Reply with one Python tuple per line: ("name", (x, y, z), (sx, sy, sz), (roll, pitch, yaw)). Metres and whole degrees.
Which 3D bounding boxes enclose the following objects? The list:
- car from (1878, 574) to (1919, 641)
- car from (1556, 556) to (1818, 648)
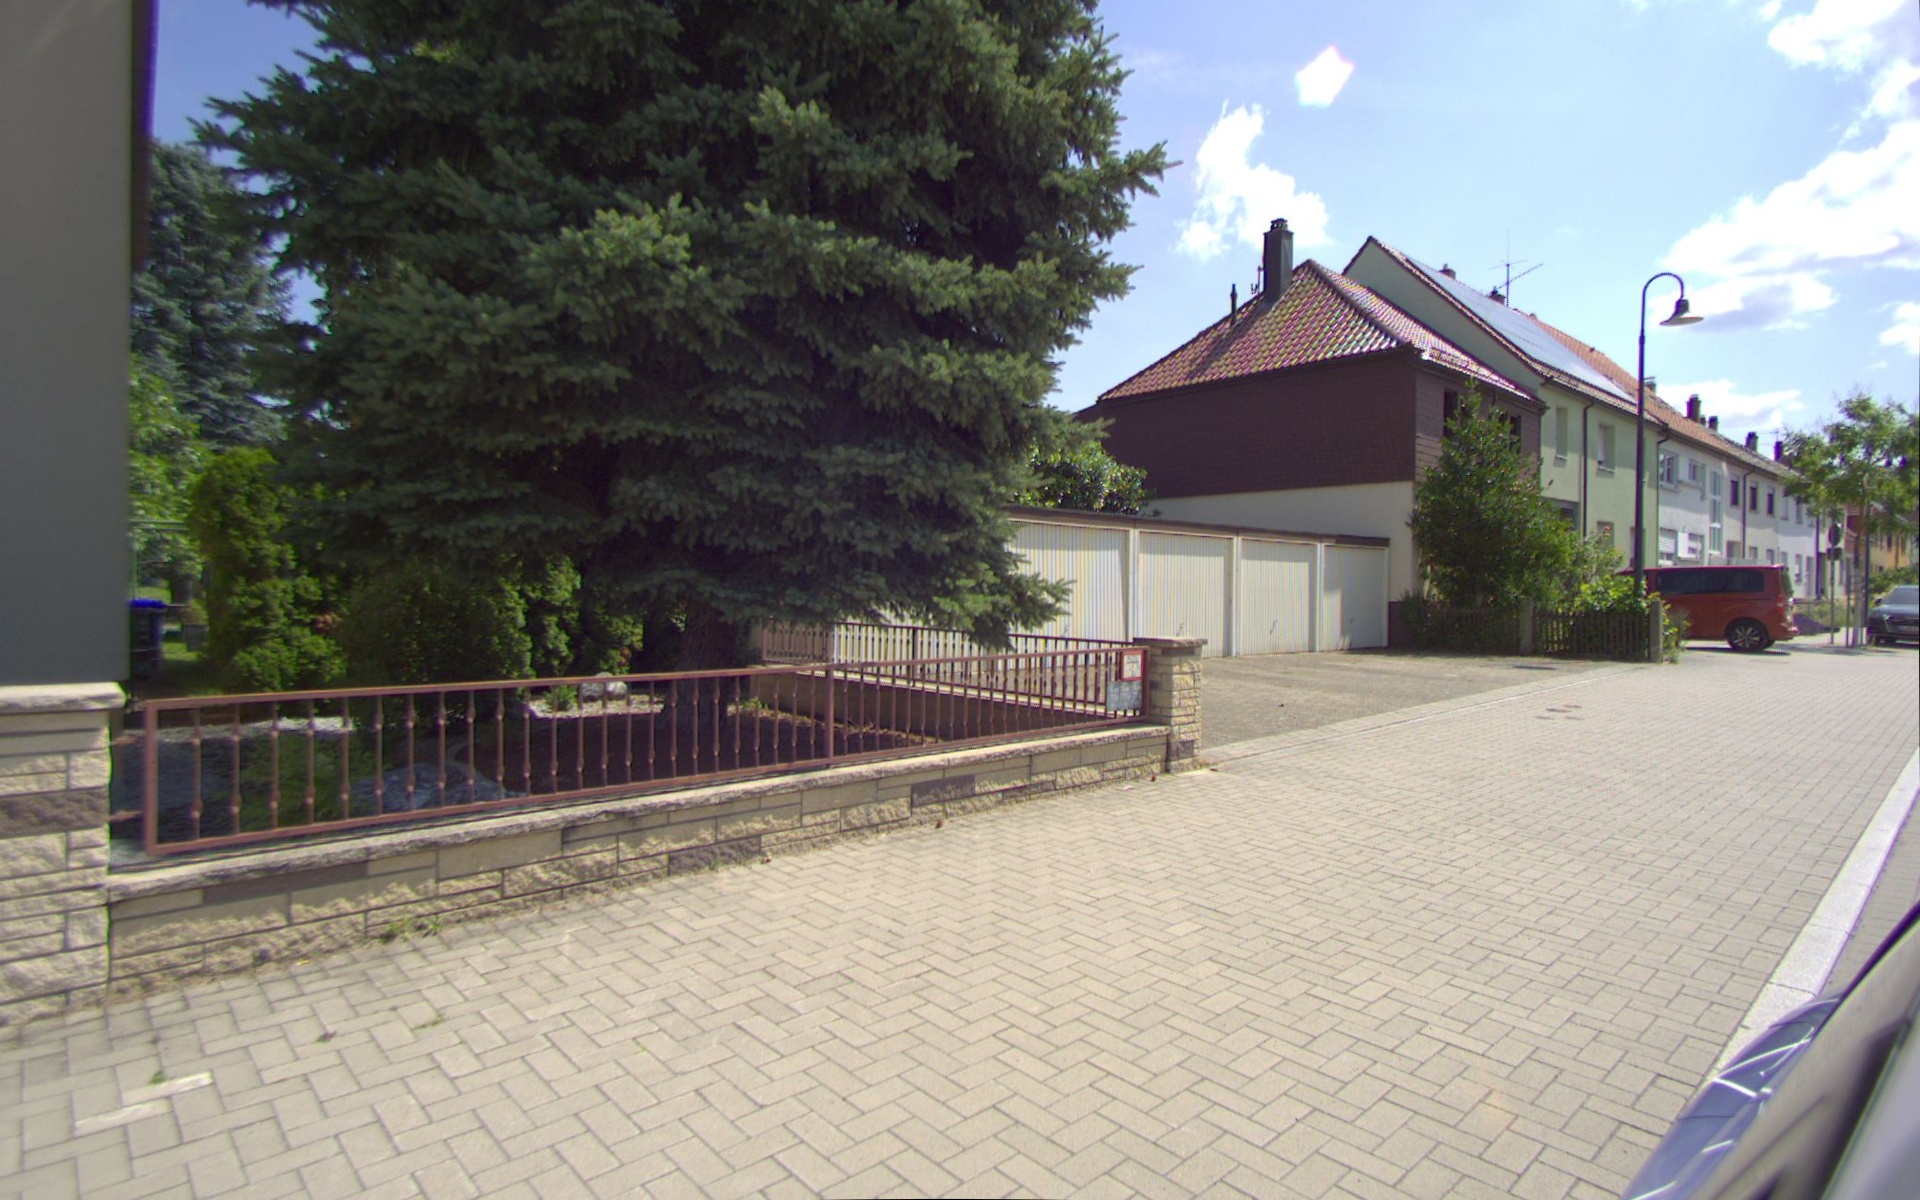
("car", (25.955, 0.216, 26.772), (4.367, 1.655, 1.868), (0, 3, -40))
("car", (16.703, 0.024, 23.435), (1.987, 1.917, 4.623), (-2, 1, -43))
